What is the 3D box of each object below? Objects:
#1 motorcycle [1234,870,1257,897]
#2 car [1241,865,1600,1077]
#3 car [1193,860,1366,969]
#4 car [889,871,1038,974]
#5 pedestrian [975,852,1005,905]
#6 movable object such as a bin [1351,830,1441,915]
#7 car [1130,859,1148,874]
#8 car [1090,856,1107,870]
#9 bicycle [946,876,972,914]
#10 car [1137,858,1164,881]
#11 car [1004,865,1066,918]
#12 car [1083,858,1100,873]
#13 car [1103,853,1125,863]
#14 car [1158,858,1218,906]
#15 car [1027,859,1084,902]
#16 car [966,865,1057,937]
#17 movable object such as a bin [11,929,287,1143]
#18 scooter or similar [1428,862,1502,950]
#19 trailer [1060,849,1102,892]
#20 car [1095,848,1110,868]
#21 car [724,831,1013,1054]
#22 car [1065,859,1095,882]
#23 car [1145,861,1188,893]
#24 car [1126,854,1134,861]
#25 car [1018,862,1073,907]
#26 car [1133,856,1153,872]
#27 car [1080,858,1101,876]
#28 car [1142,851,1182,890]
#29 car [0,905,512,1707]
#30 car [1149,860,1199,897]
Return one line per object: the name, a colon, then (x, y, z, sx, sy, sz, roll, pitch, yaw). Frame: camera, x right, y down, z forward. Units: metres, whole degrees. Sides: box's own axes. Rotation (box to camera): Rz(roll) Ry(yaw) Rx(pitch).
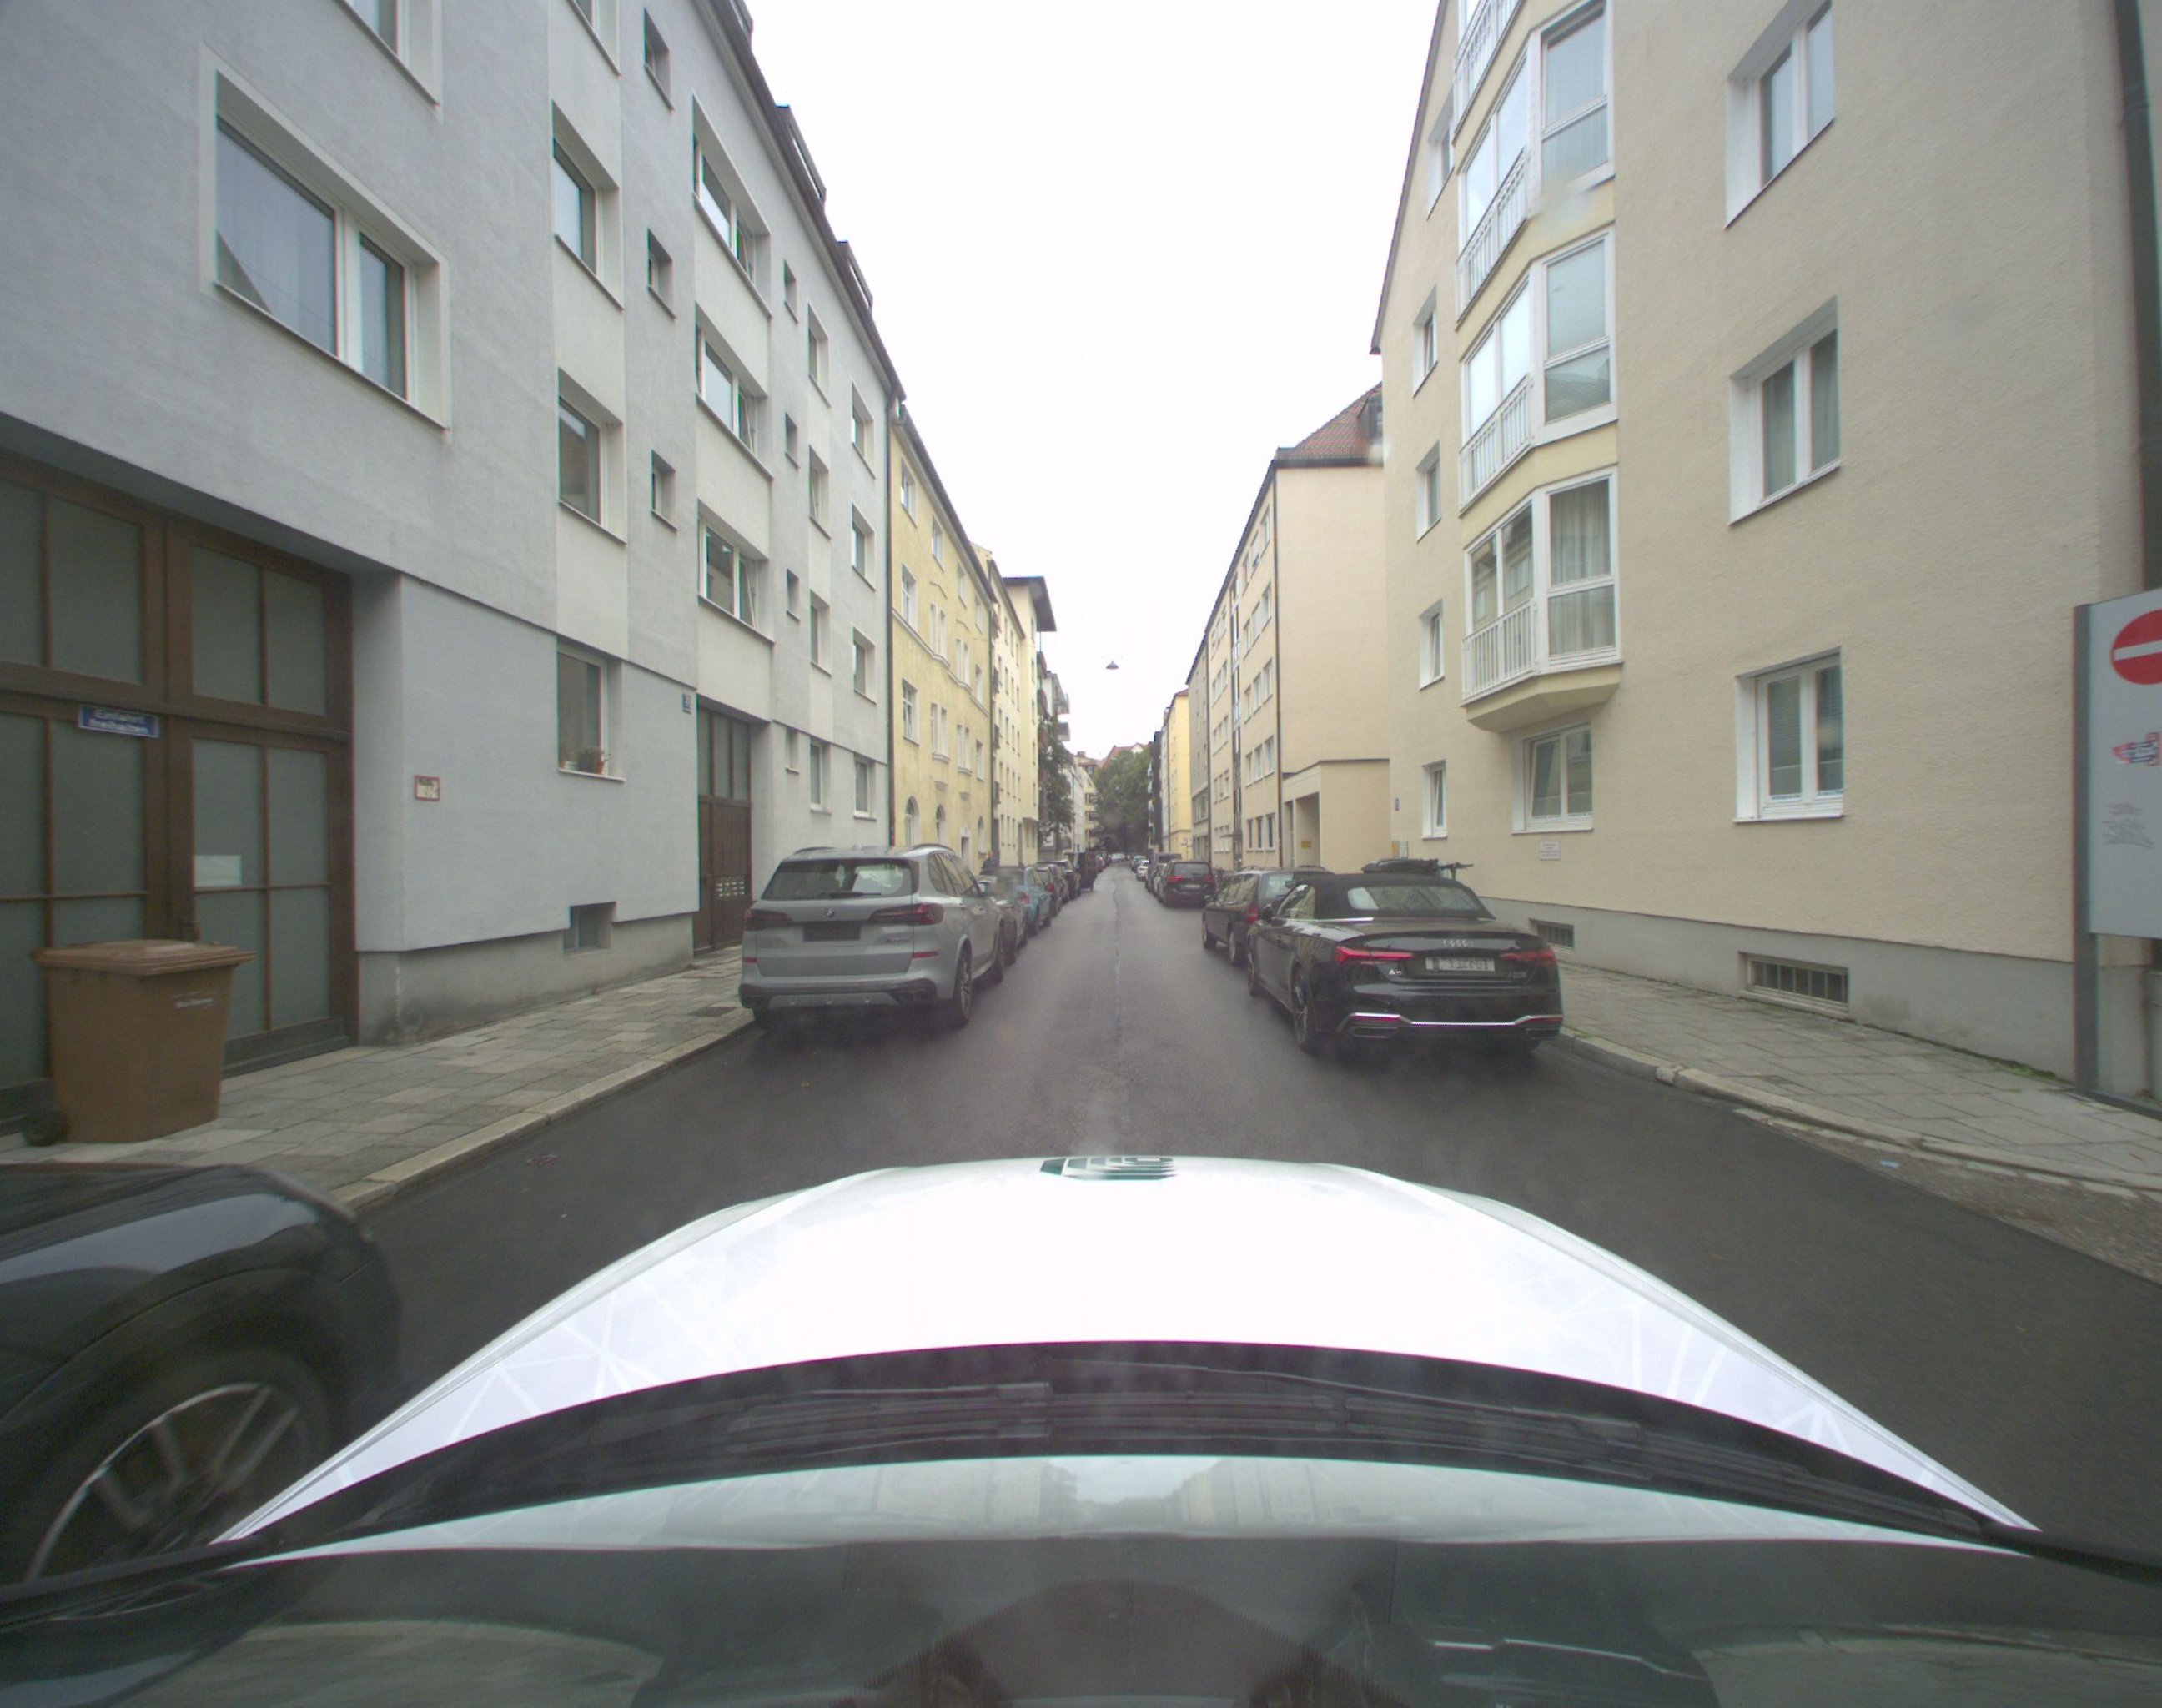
motorcycle: (6.349, 1.118, 31.552, 0.480, 0.967, 1.912, -5, -1, 2)
car: (2.711, 0.812, 7.703, 1.824, 1.406, 4.415, 0, -1, 4)
car: (3.003, 0.852, 13.307, 1.711, 1.471, 4.530, 0, -1, 0)
car: (-1.857, 1.057, 14.169, 1.805, 1.386, 4.252, -3, -1, 1)
pedestrian: (-3.069, 0.815, 27.500, 0.835, 1.764, 1.068, 0, -1, 2)
movable object such as a bin: (5.750, 0.331, 14.997, 1.028, 1.423, 1.587, -3, -1, 2)
car: (6.336, 1.327, 89.524, 1.676, 1.567, 4.416, 1, 0, 1)
car: (2.209, 1.119, 101.486, 1.769, 1.487, 4.523, -4, 0, 3)
bicycle: (-4.189, 1.378, 28.033, 0.591, 1.234, 1.737, 0, -1, 2)
car: (5.032, 1.114, 59.462, 1.812, 1.408, 3.955, 0, 2, 2)
car: (-1.351, 1.086, 24.959, 1.557, 1.460, 3.765, -2, -1, 1)
car: (1.075, 1.158, 82.370, 1.687, 1.442, 3.978, -2, 0, 1)
car: (6.122, 0.718, 149.698, 3.872, 1.584, 1.648, -4, 0, 1)
car: (3.773, 0.964, 29.320, 1.705, 1.608, 4.245, 0, -1, 2)
car: (-1.010, 1.063, 34.590, 1.871, 1.660, 4.419, -2, -1, 4)
car: (-1.523, 1.026, 18.934, 1.556, 1.460, 3.408, -2, -1, 4)
movable object such as a bin: (-5.312, 1.006, 4.686, 0.804, 1.051, 0.623, 3, -1, 2)
scooter or similar: (5.905, 0.774, 12.575, 0.574, 1.266, 1.137, -3, -1, 2)
trailer: (0.014, 0.817, 42.167, 1.345, 2.116, 3.331, -1, -1, 15)
car: (3.217, 0.654, 121.181, 1.929, 2.801, 4.535, -4, 0, 2)
car: (-1.974, 0.763, 9.180, 1.856, 1.770, 4.736, -3, -1, 1)
car: (-0.047, 1.146, 57.819, 1.758, 1.483, 4.428, -2, 0, 4)
car: (4.109, 1.103, 39.801, 1.706, 1.486, 4.244, 0, -1, 1)
car: (9.996, 0.666, 166.639, 1.636, 1.383, 3.748, -4, 0, 2)
car: (-1.232, 1.071, 29.797, 1.556, 1.460, 3.479, -2, -1, 4)
car: (6.002, 0.973, 79.541, 1.744, 1.469, 4.345, 1, 0, 2)
car: (0.928, 1.164, 74.635, 1.686, 1.442, 3.946, -2, 0, 3)
car: (4.372, 0.843, 44.442, 1.745, 1.975, 4.343, 1, 0, 0)
car: (-2.480, 0.846, 0.394, 1.645, 1.411, 3.736, -3, -1, 2)
car: (3.891, 0.995, 34.790, 1.706, 1.486, 4.244, 0, -1, 1)
